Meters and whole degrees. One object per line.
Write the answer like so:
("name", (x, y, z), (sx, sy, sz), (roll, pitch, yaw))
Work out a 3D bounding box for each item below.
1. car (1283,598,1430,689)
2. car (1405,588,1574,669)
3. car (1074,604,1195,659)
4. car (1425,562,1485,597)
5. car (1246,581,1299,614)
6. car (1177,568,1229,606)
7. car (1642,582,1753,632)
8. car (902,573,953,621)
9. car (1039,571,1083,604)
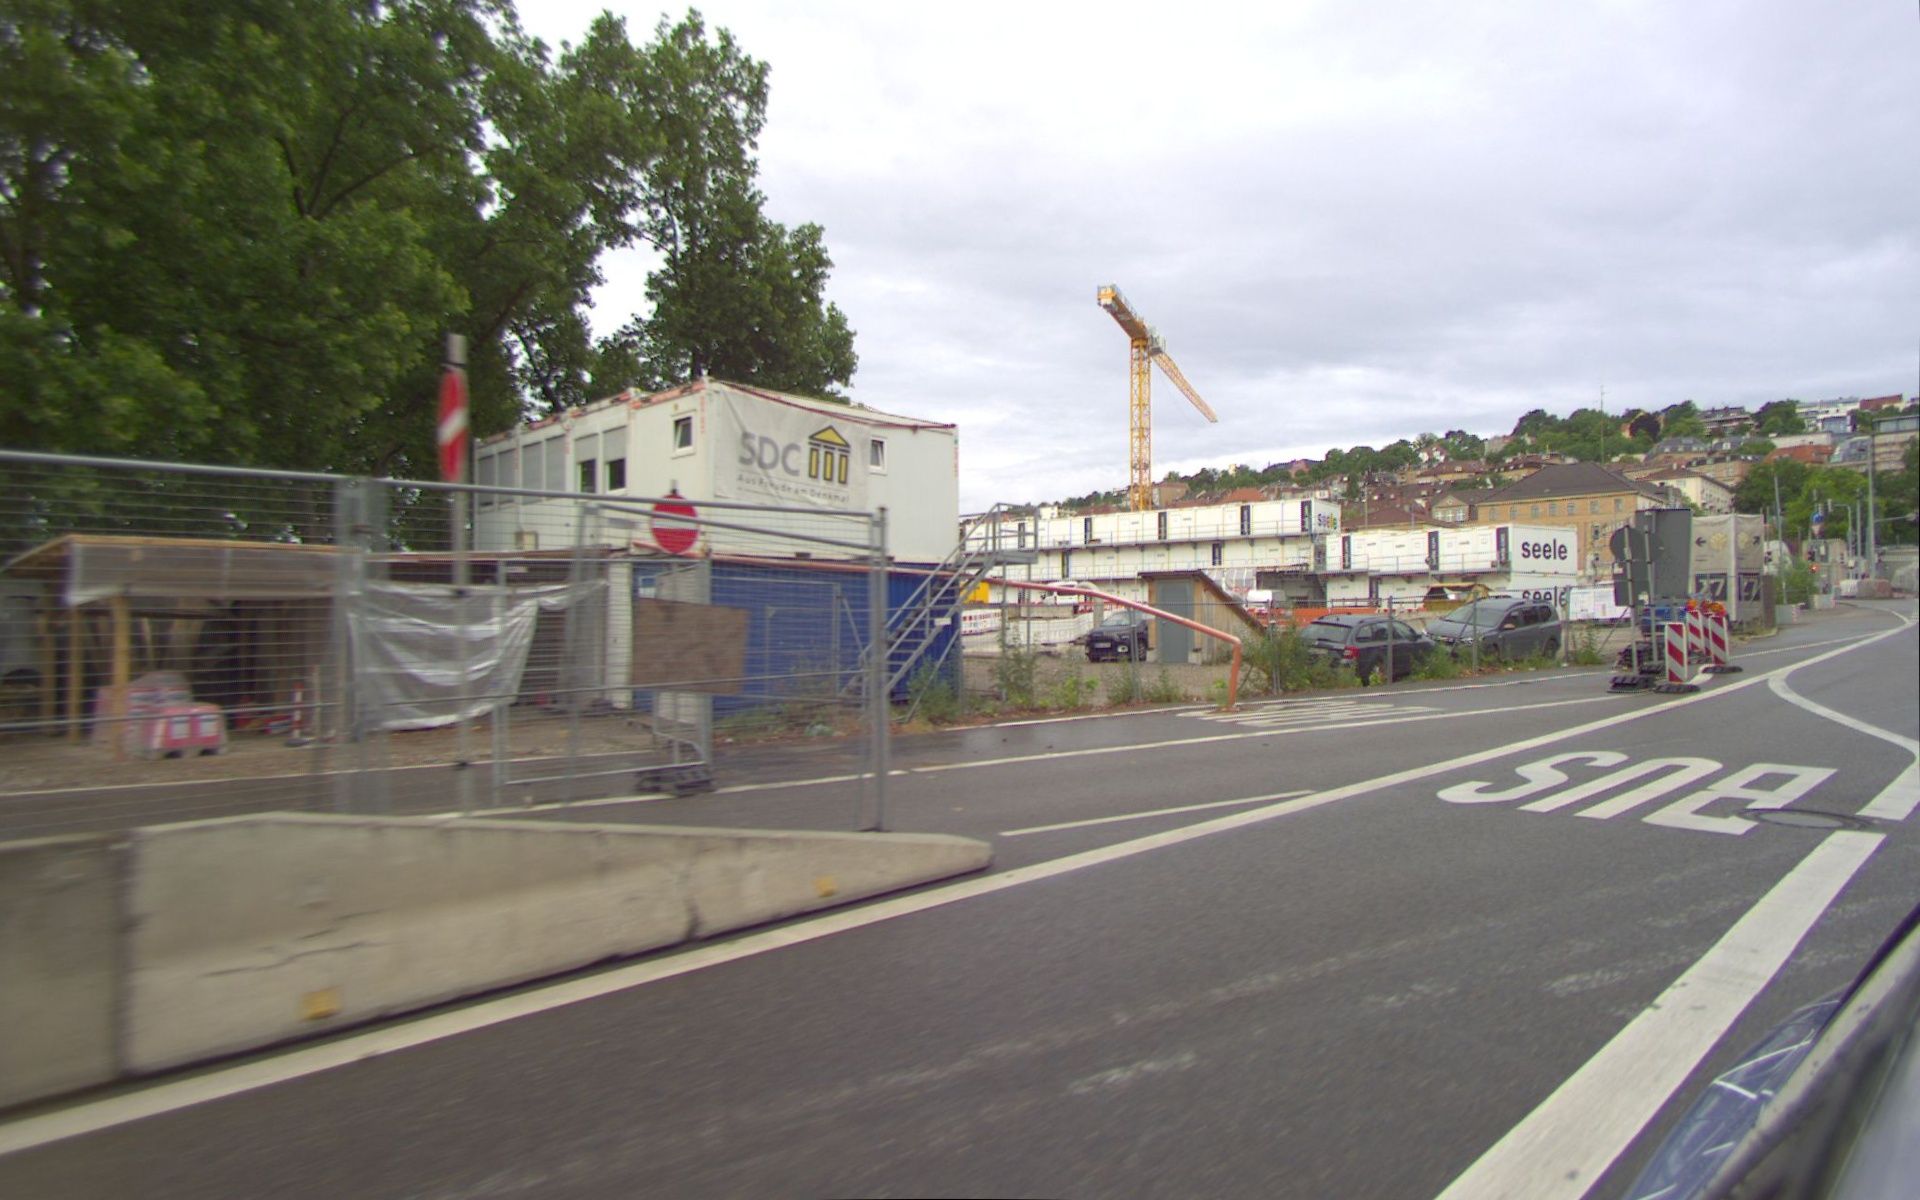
("car", (9.001, 0.880, 22.797), (1.849, 1.502, 3.944), (1, 6, 41))
("car", (13.579, 0.650, 25.882), (4.329, 1.668, 1.930), (-2, 6, -34))
("car", (5.231, 0.903, 30.009), (1.709, 1.322, 3.941), (-3, 1, 41))
("car", (28.119, -1.197, 57.402), (2.011, 1.925, 4.587), (1, 2, 40))
("car", (20.760, -0.196, 67.100), (1.987, 1.910, 4.925), (2, 3, 34))
("car", (17.038, -0.957, 70.873), (1.986, 2.471, 4.925), (1, 3, 34))
("car", (24.630, 0.215, 33.771), (4.334, 1.459, 1.836), (-3, 0, -38))
("car", (-1.681, -0.223, 54.138), (1.922, 2.306, 5.256), (0, 3, 7))
("car", (7.757, -1.027, 78.162), (2.106, 2.412, 4.412), (-1, 2, -13))
